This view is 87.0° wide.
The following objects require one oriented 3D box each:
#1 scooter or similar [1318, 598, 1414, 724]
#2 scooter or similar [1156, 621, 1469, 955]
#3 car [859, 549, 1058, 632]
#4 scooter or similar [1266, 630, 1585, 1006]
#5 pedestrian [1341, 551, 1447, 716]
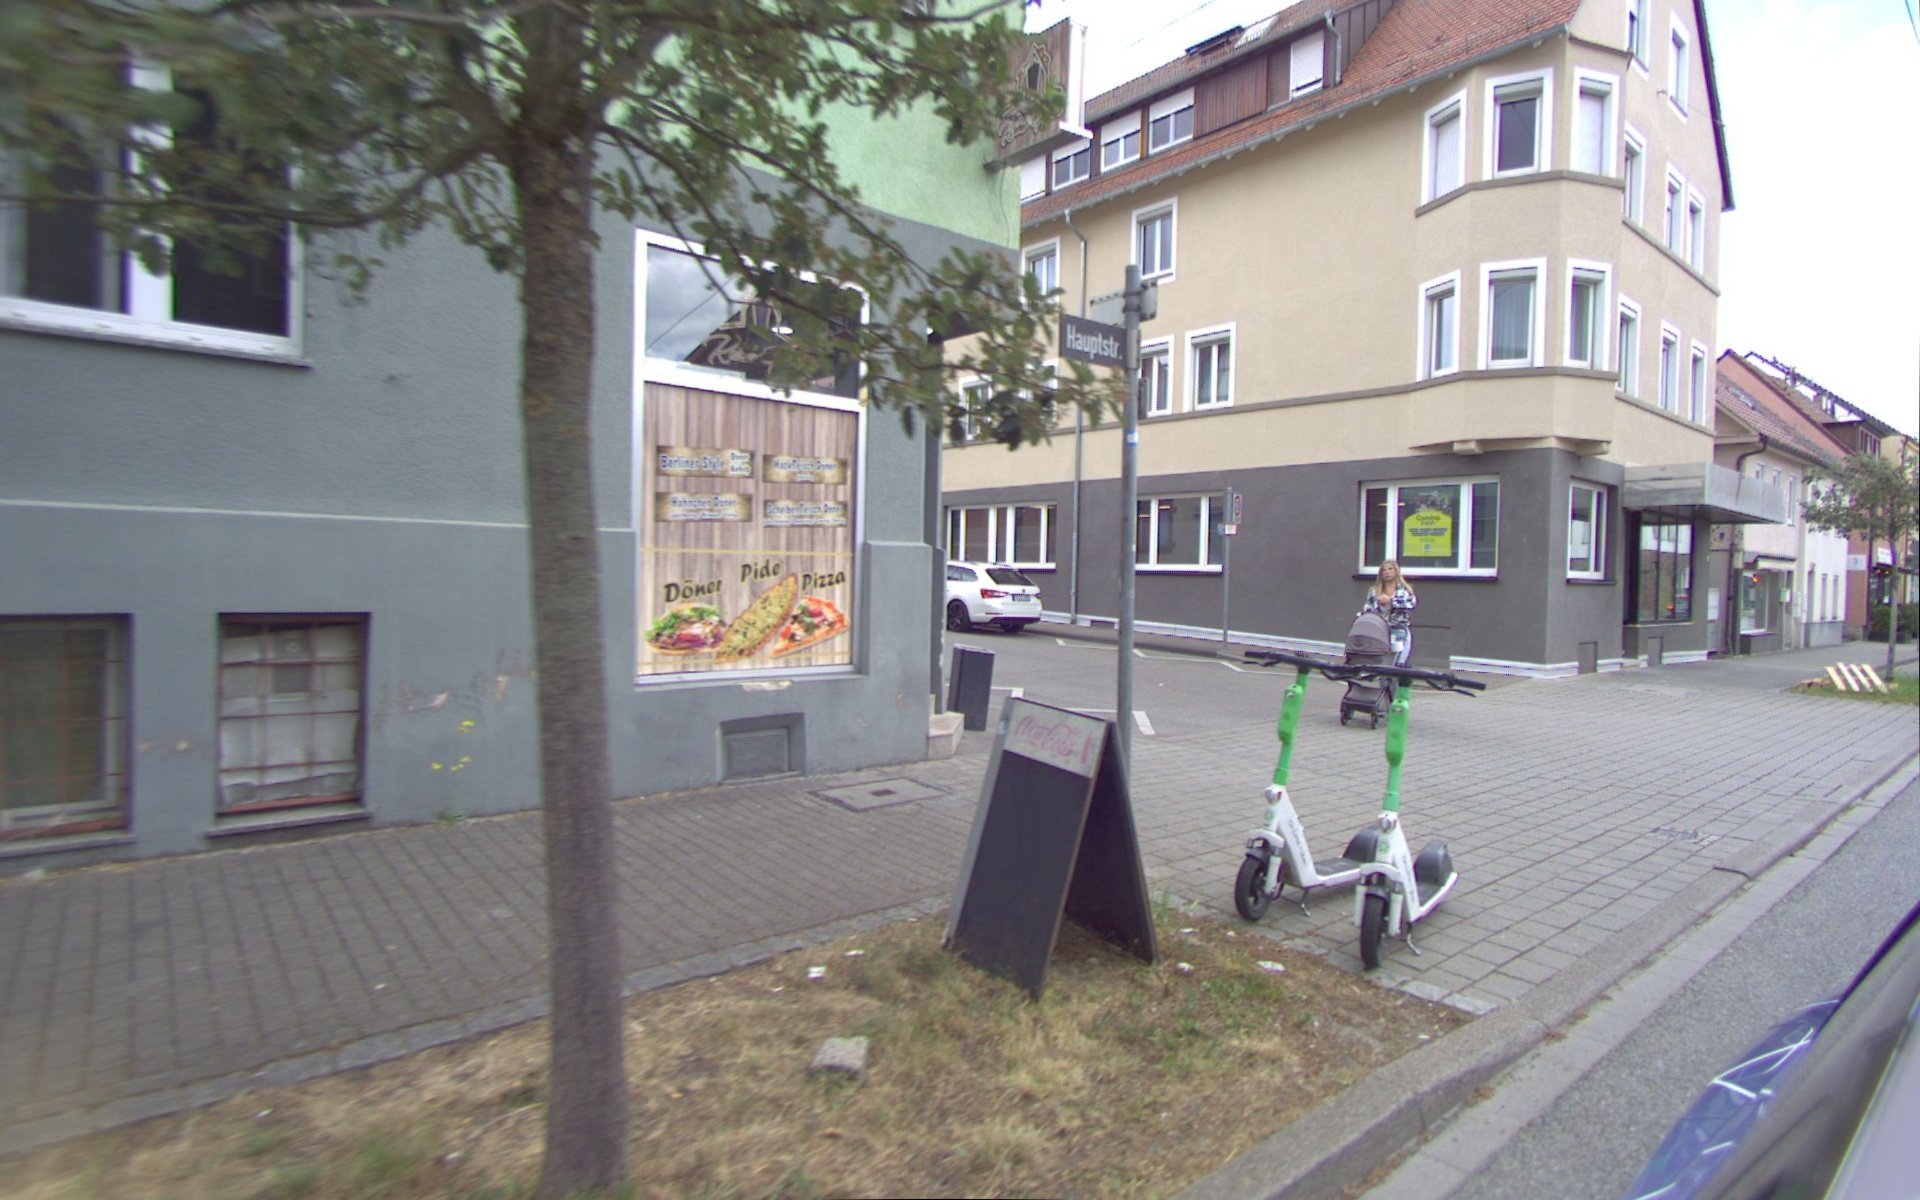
[{"bbox_3d":[4.257,0.609,10.610,0.876,1.248,0.590,0,1,-41],"label":"scooter or similar"},{"bbox_3d":[1.724,0.750,4.760,1.908,1.251,0.503,0,1,-41],"label":"scooter or similar"},{"bbox_3d":[-0.139,-0.251,22.247,1.875,1.489,4.434,2,3,-41],"label":"car"},{"bbox_3d":[2.071,0.786,4.352,1.908,1.251,0.503,0,1,-41],"label":"scooter or similar"},{"bbox_3d":[4.824,0.344,11.242,0.884,1.741,0.752,0,0,-40],"label":"pedestrian"}]
